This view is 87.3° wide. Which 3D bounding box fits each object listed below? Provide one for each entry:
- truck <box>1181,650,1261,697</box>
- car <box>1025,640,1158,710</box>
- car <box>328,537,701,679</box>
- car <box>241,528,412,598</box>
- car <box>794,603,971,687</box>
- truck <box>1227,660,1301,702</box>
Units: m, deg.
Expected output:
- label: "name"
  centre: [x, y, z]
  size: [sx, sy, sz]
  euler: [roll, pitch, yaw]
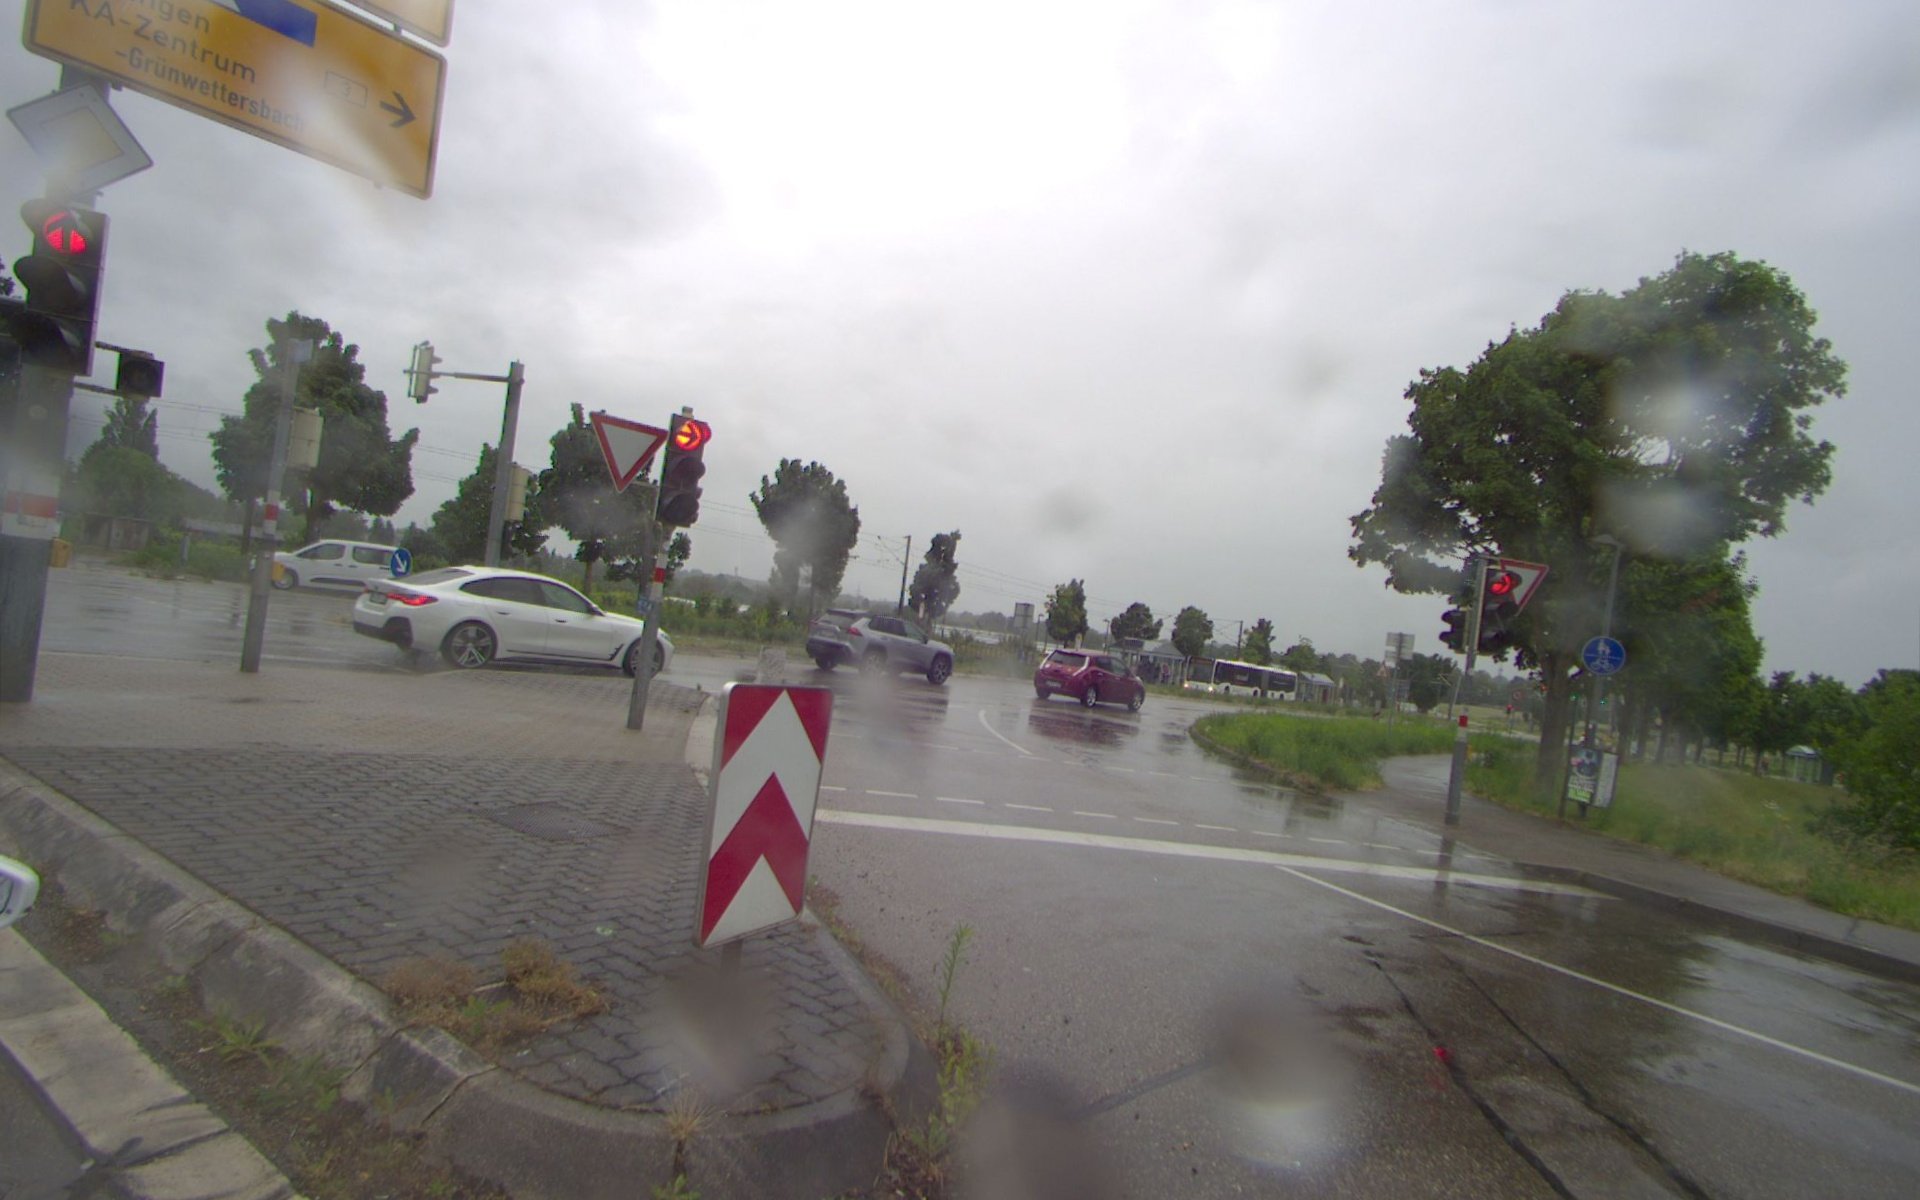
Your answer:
- label: "truck"
  centre: [21.099, 5.985, 80.833]
  size: [2.616, 2.864, 8.821]
  euler: [7, -2, 39]
- label: "car"
  centre: [3.930, 2.247, 29.405]
  size: [1.707, 1.598, 4.375]
  euler: [7, -2, 39]
- label: "car"
  centre: [-6.618, 0.218, 15.509]
  size: [1.773, 1.572, 4.880]
  euler: [7, -1, 39]
- label: "car"
  centre: [-20.084, -1.161, 31.974]
  size: [4.315, 1.572, 1.803]
  euler: [8, -1, -39]
- label: "car"
  centre: [-1.949, 1.244, 26.557]
  size: [1.885, 1.597, 4.527]
  euler: [7, -3, 40]
- label: "truck"
  centre: [26.657, 7.101, 87.937]
  size: [2.617, 2.804, 9.323]
  euler: [7, -2, 39]
